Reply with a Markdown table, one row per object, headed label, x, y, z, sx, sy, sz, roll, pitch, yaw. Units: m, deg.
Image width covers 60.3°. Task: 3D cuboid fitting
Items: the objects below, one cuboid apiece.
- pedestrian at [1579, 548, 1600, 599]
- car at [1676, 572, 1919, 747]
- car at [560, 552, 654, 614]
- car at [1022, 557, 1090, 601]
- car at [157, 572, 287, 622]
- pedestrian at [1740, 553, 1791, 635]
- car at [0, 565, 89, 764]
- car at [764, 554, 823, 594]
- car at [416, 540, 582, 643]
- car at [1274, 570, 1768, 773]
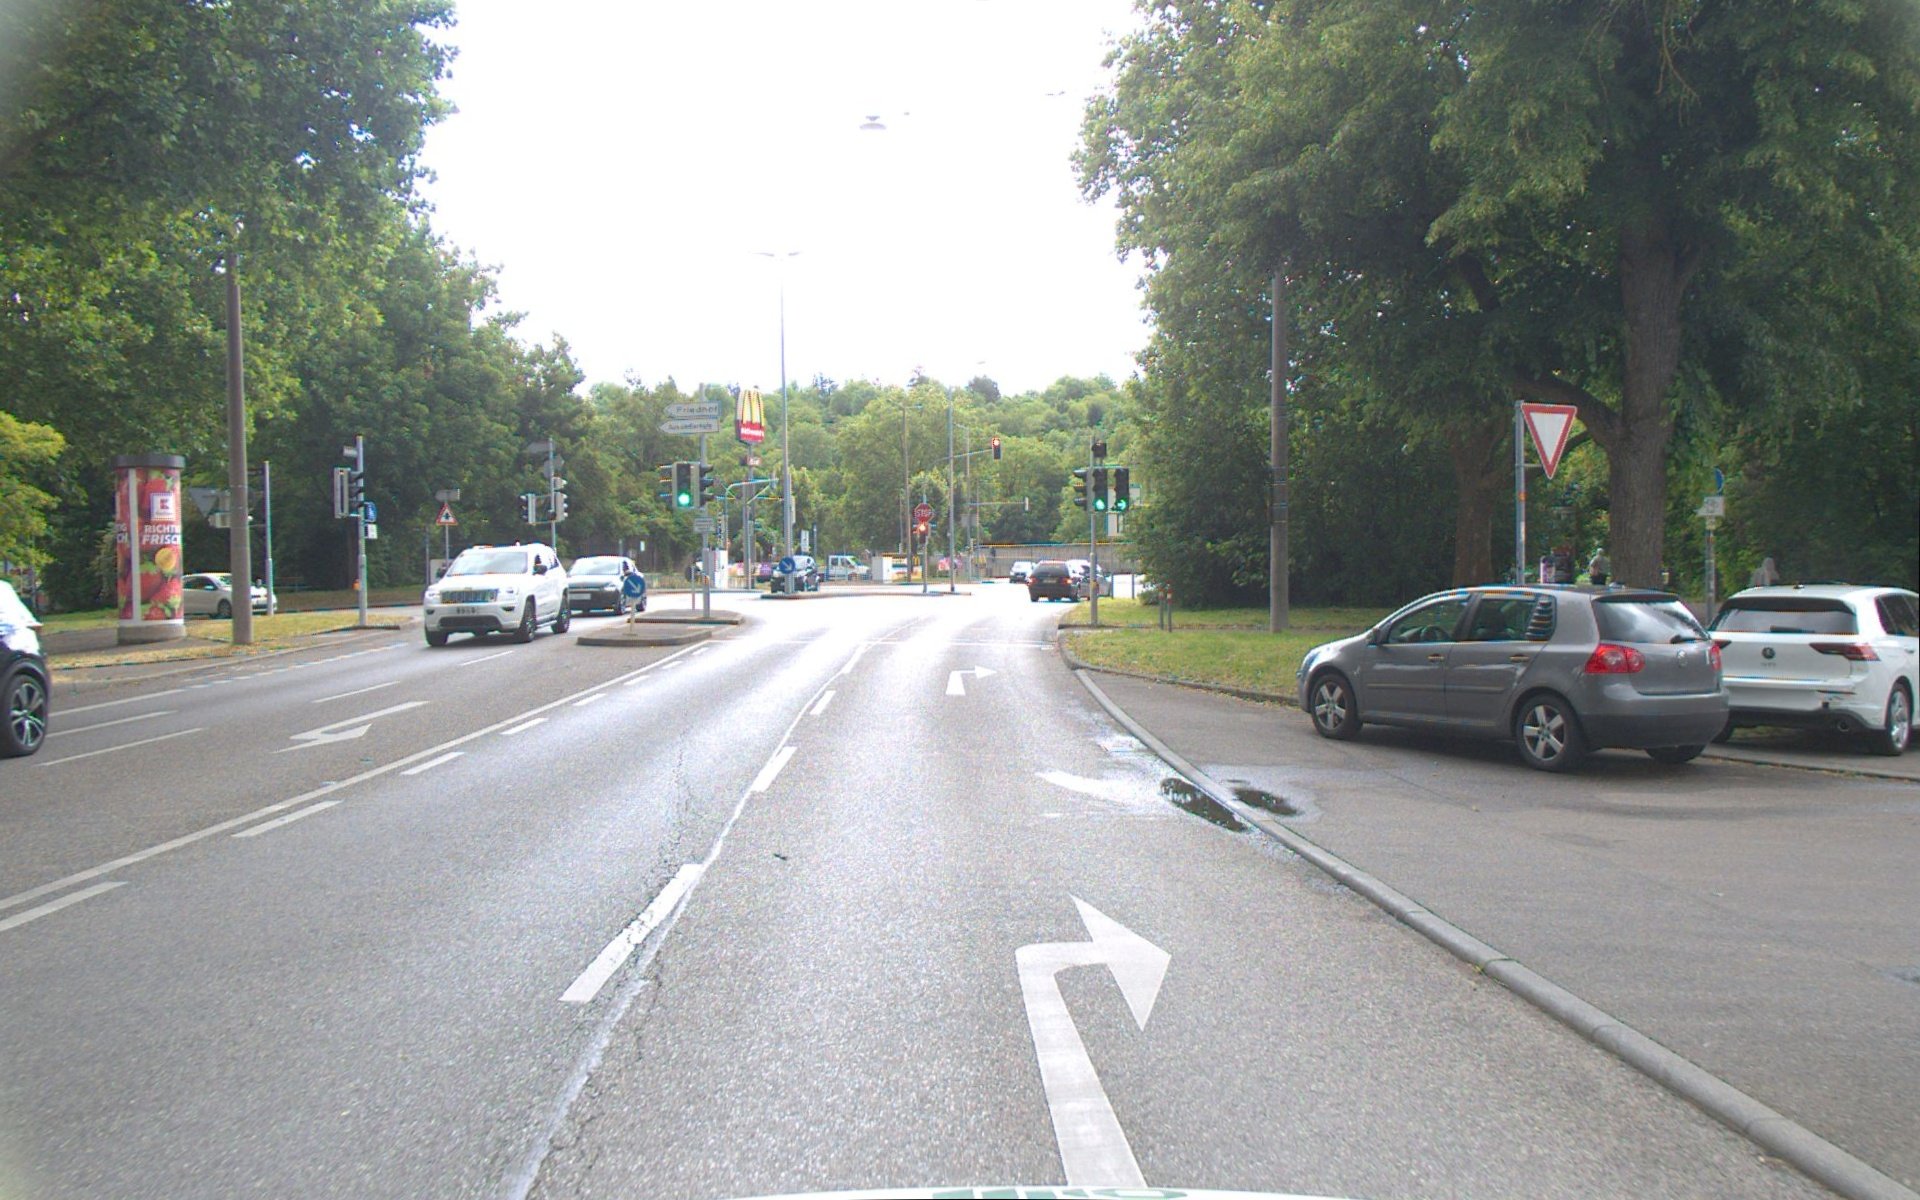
| label | x | y | z | sx | sy | sz | roll | pitch | yaw |
| --- | --- | --- | --- | --- | --- | --- | --- | --- | --- |
| pedestrian | 19.374 | -0.810 | 50.923 | 0.499 | 1.558 | 0.778 | 0 | 0 | 14 |
| car | 8.508 | 0.451 | 15.626 | 4.229 | 1.404 | 1.736 | -2 | 2 | -44 |
| car | -8.971 | -0.469 | 42.269 | 1.537 | 1.406 | 3.950 | -2 | 2 | -1 |
| car | 3.602 | -0.791 | 61.219 | 1.783 | 1.535 | 4.578 | -1 | 1 | 13 |
| car | -23.415 | -0.089 | 52.467 | 3.768 | 1.505 | 1.824 | 0 | 1 | 28 |
| pedestrian | 15.916 | -0.126 | 32.688 | 0.669 | 1.578 | 0.743 | -1 | 1 | 5 |
| car | -8.703 | 0.593 | 12.634 | 1.760 | 1.614 | 4.414 | -3 | 1 | -1 |
| car | -6.821 | -1.092 | 67.977 | 1.535 | 1.553 | 3.192 | -1 | 2 | 11 |
| car | -8.802 | -0.222 | 32.003 | 1.872 | 1.794 | 4.753 | -1 | 2 | 0 |
| car | 4.791 | 0.502 | 14.715 | 1.710 | 1.454 | 4.071 | -1 | 2 | -30 |
